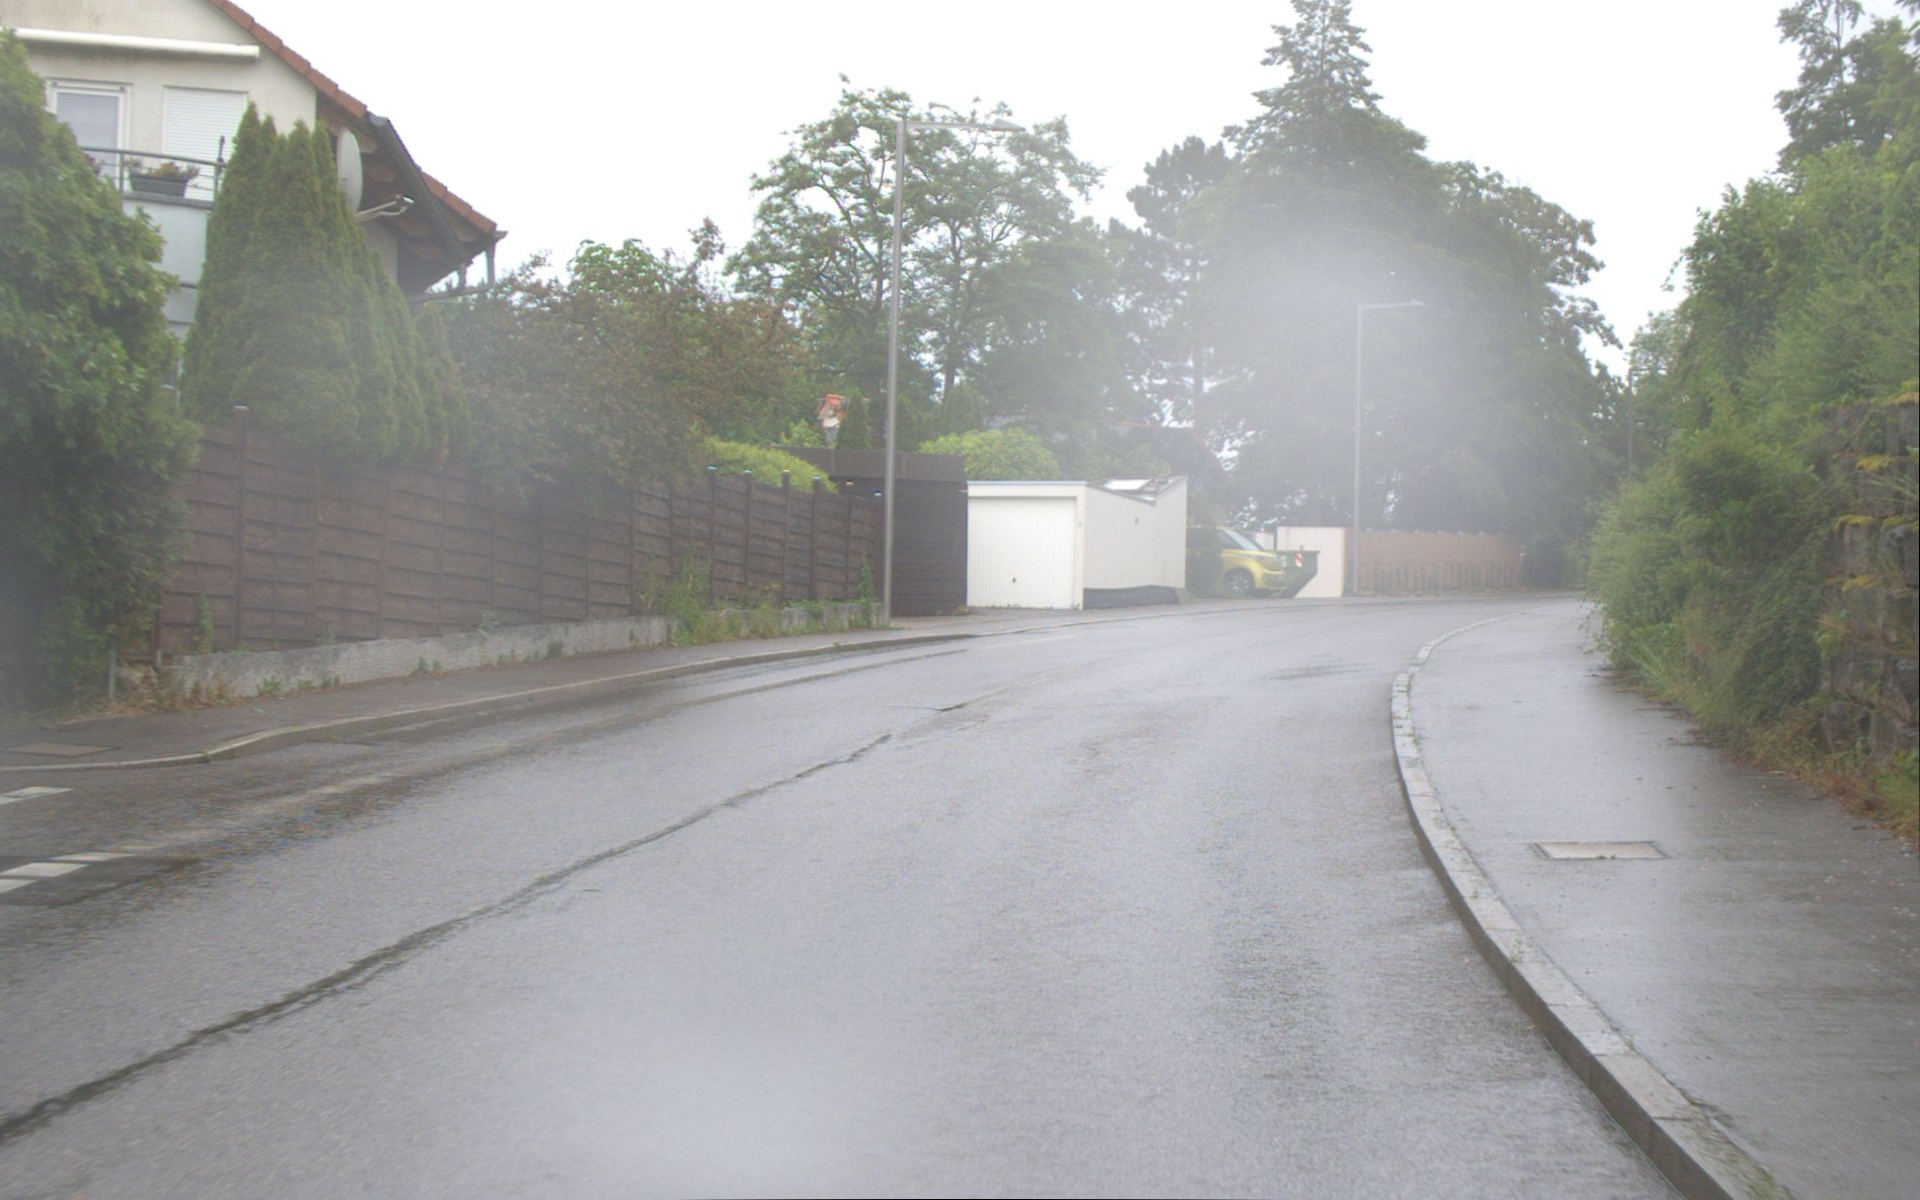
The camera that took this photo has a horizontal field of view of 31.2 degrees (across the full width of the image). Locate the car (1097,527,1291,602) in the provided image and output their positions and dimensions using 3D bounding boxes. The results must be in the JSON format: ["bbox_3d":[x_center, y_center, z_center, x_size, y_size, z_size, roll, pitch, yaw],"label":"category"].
[{"bbox_3d":[6.005,-0.903,88.103,4.508,1.853,2.087,0,1,23],"label":"car"}]
